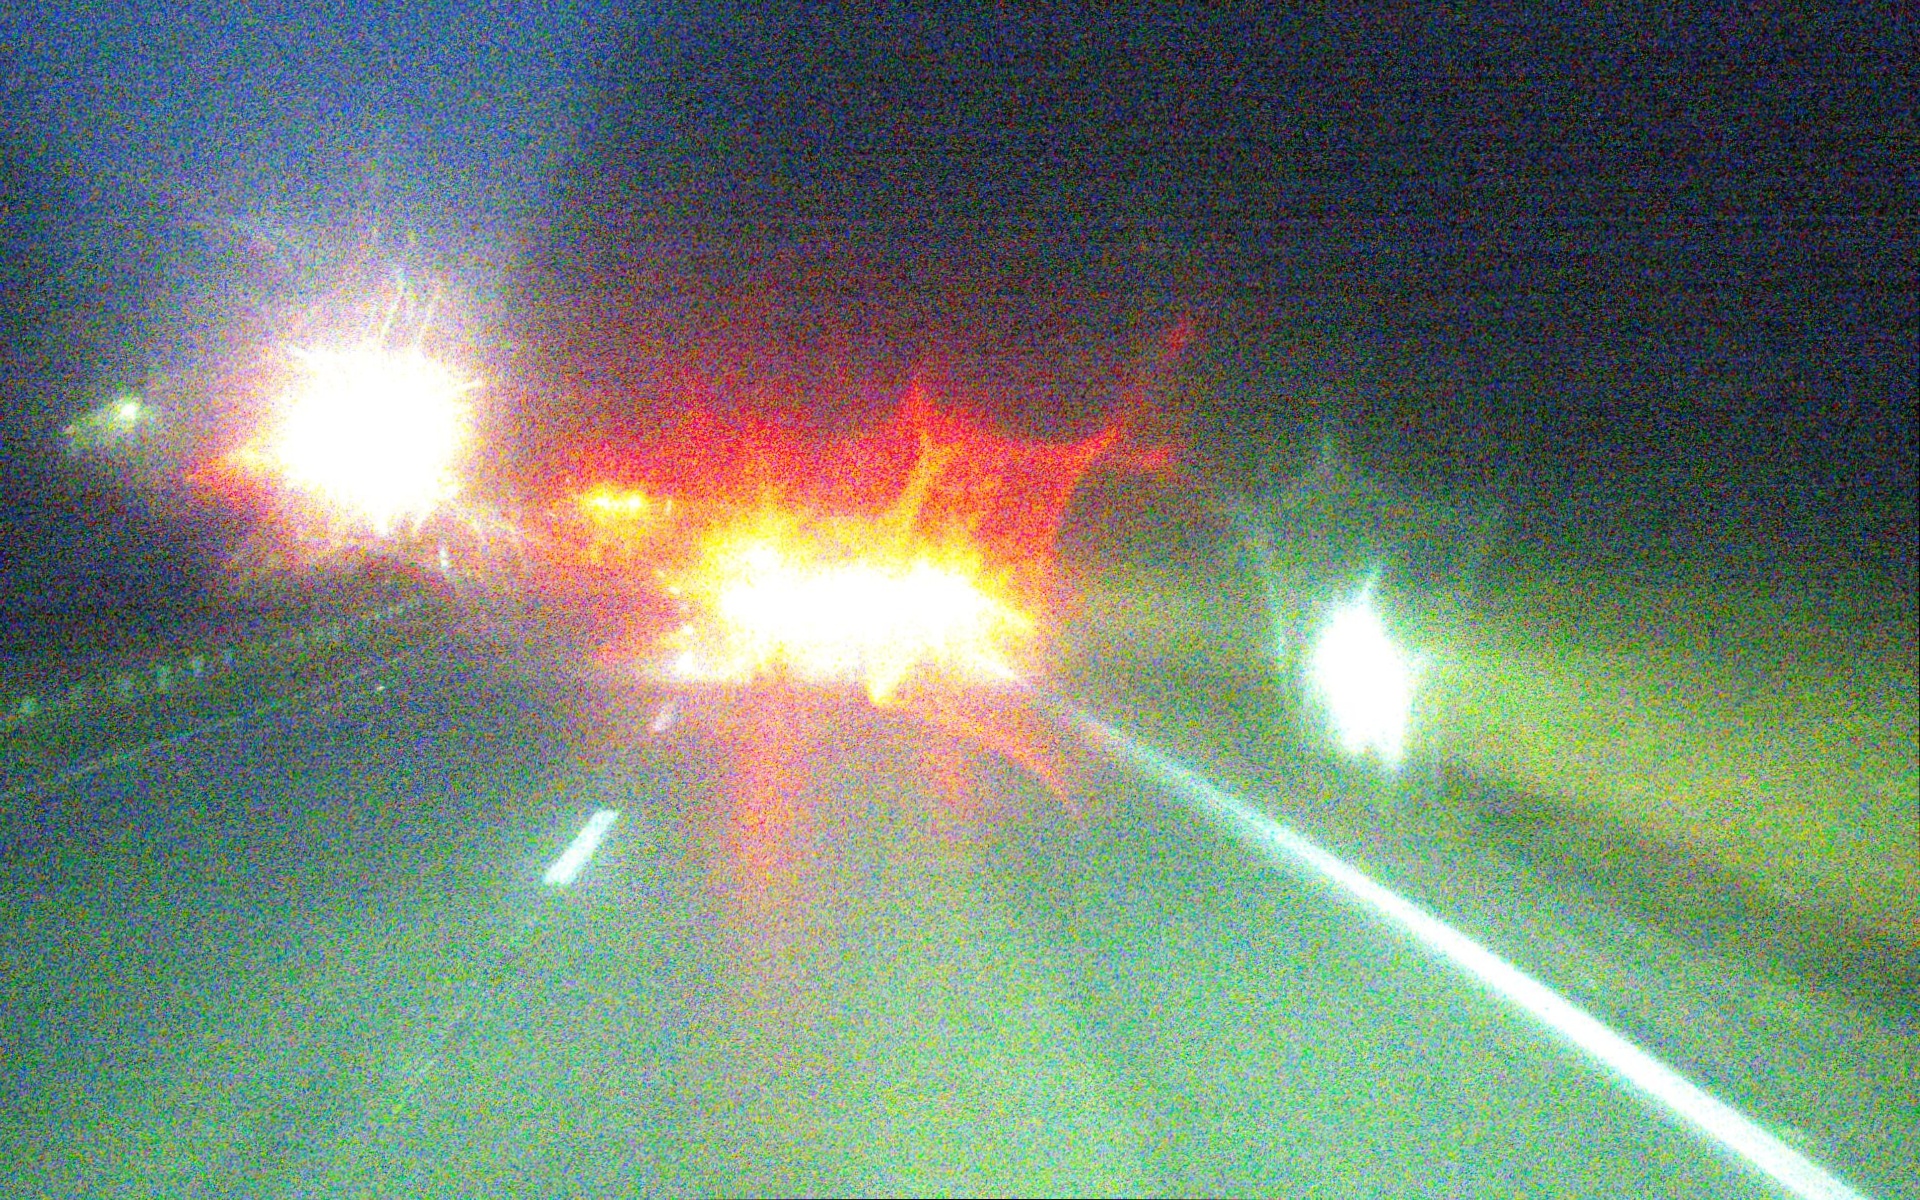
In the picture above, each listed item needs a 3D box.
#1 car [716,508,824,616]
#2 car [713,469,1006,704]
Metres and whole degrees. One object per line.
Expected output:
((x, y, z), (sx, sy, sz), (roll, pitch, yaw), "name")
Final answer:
((-3.775, -0.745, 67.812), (1.993, 2.007, 4.001), (-2, 1, -4), "car")
((-0.888, -0.166, 31.639), (2.457, 1.952, 4.912), (-1, 1, -1), "car")
